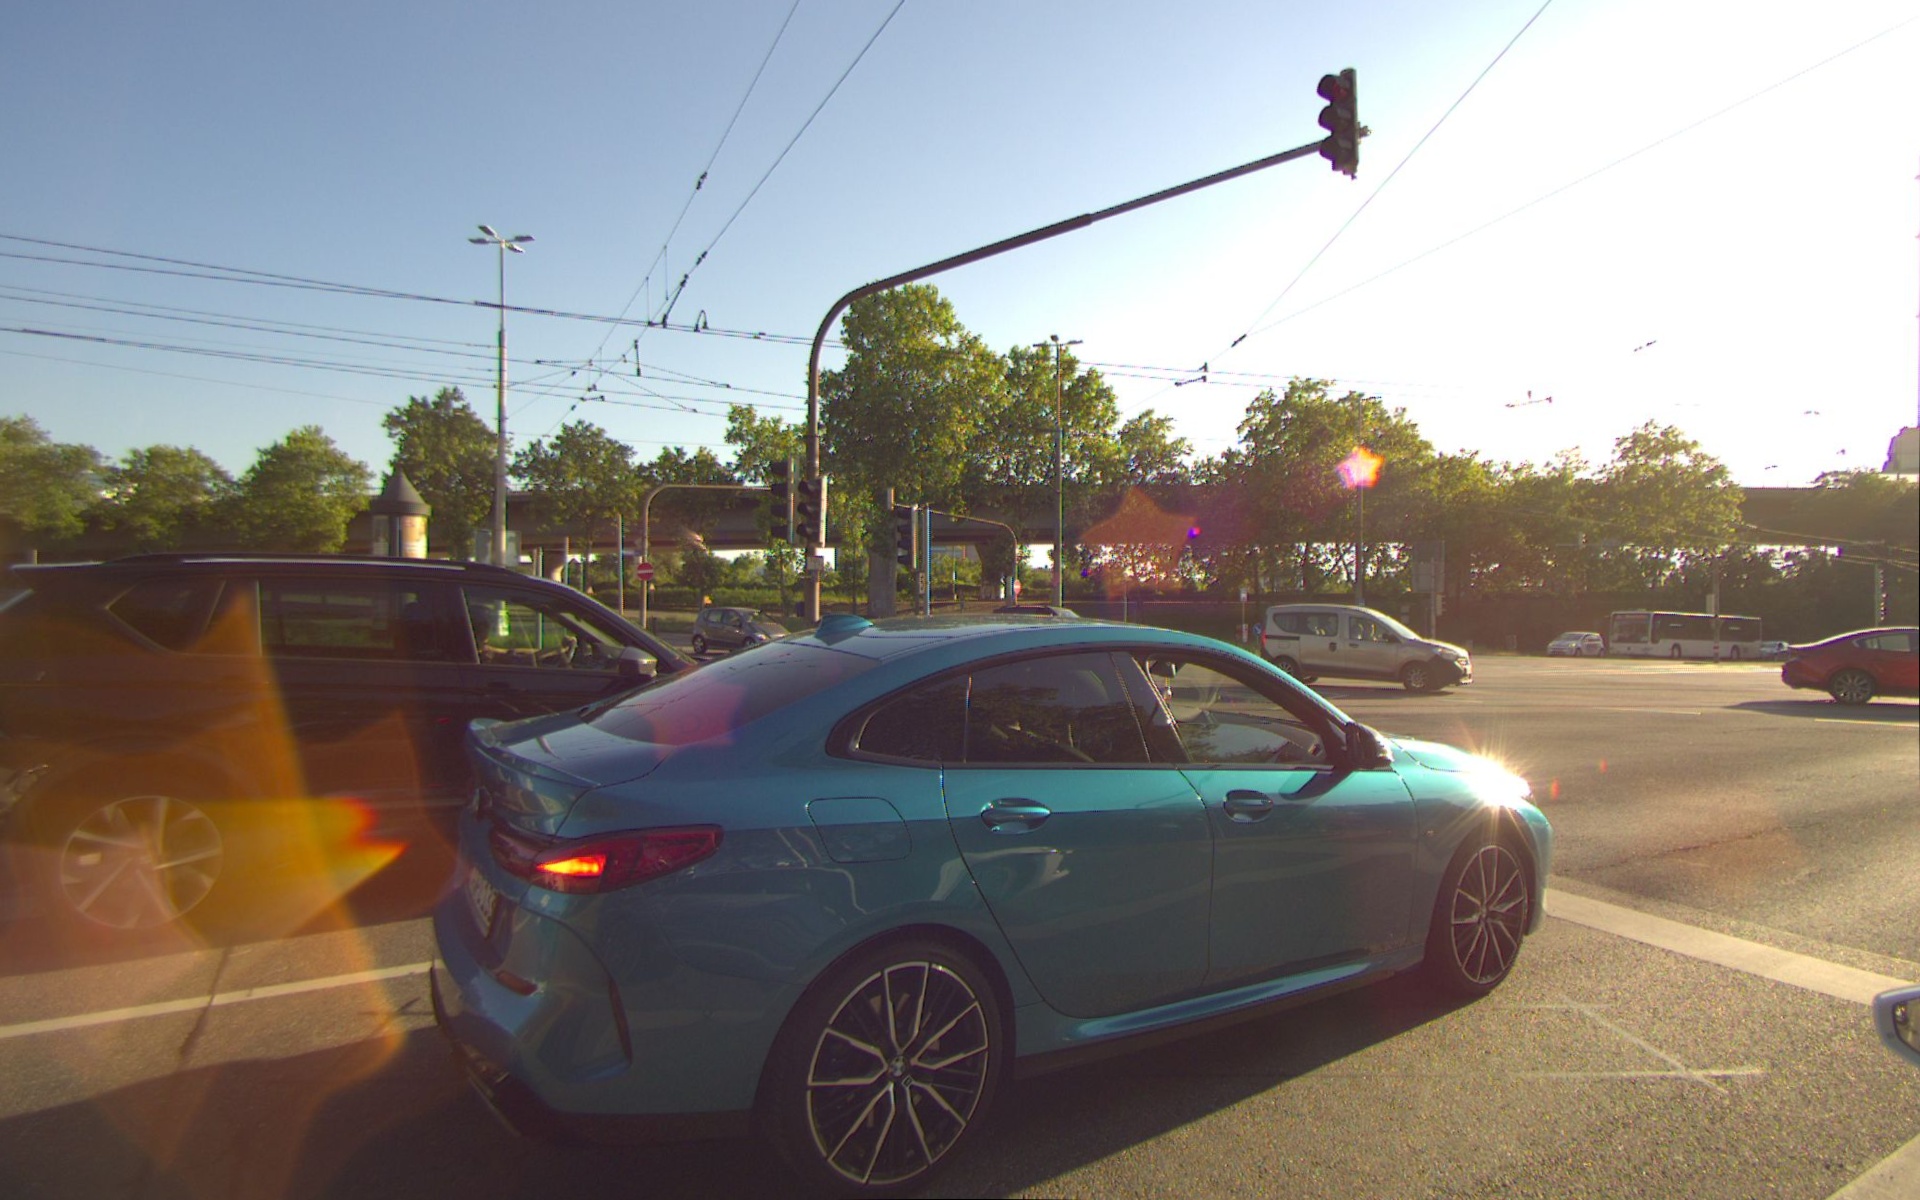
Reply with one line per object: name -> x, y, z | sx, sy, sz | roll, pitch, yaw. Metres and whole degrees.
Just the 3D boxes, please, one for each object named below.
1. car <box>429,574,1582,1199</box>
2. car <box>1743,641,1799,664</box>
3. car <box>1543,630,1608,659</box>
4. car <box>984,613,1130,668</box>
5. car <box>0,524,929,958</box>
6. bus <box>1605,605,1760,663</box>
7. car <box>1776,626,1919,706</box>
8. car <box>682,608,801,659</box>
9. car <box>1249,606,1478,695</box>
car -> 0.427, 0.745, 3.791 | 4.162, 1.485, 1.704 | 1, -1, -33
car -> 55.040, 3.543, 68.155 | 3.959, 1.438, 1.600 | 1, 0, -29
car -> 35.138, 2.523, 57.325 | 3.964, 1.532, 1.598 | 2, 0, -32
car -> 2.996, 1.219, 31.508 | 4.341, 1.546, 1.618 | 1, 0, 36
car -> -2.607, 0.596, 5.614 | 4.566, 1.702, 1.806 | 1, -1, -29
bus -> 45.534, 2.223, 63.118 | 12.756, 3.171, 2.534 | 3, -2, -28
car -> 17.852, 1.238, 18.605 | 4.222, 1.382, 1.616 | 1, 0, 40
car -> -7.417, 1.106, 34.005 | 3.869, 1.546, 1.718 | 1, 0, 34
car -> 8.732, 1.029, 21.910 | 4.344, 1.701, 1.687 | 1, 0, 37
